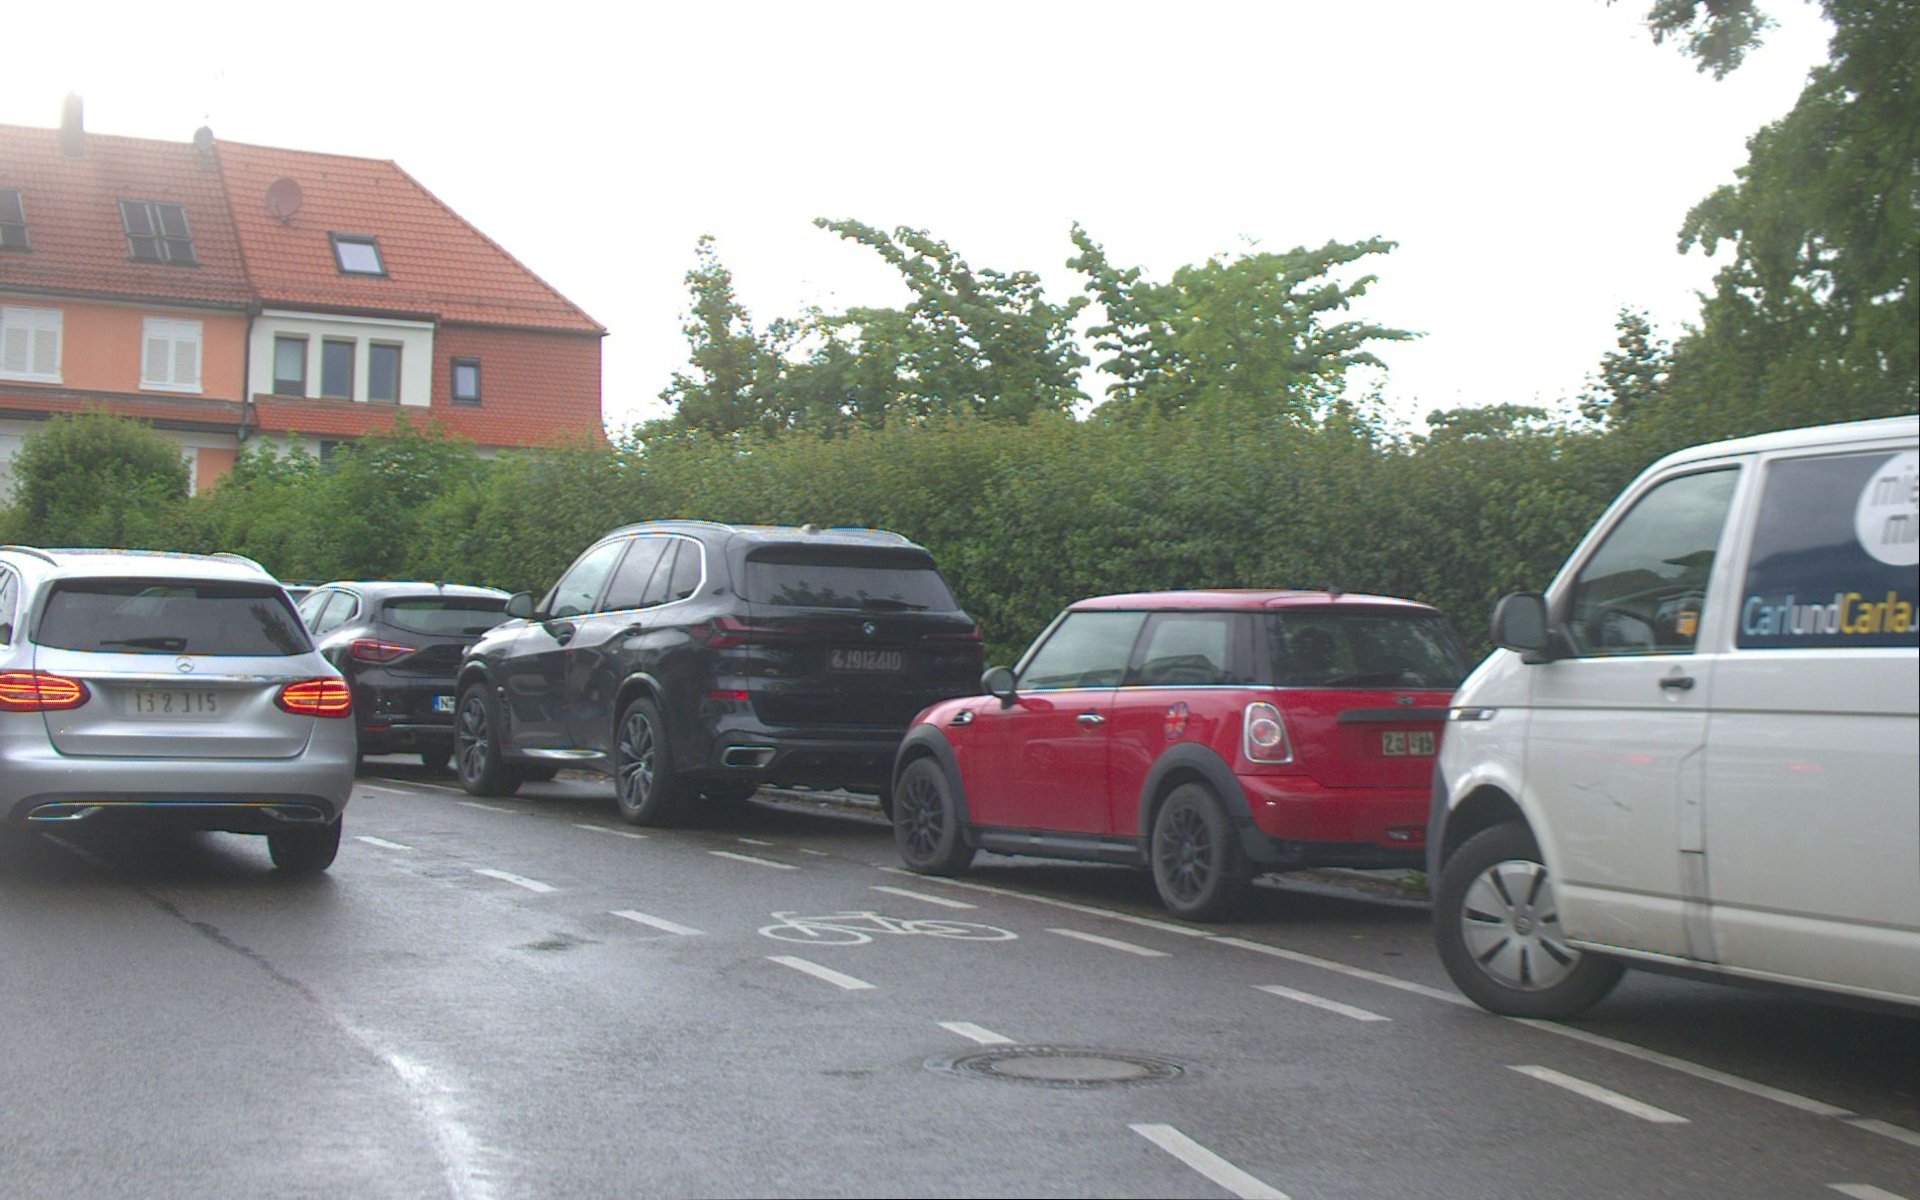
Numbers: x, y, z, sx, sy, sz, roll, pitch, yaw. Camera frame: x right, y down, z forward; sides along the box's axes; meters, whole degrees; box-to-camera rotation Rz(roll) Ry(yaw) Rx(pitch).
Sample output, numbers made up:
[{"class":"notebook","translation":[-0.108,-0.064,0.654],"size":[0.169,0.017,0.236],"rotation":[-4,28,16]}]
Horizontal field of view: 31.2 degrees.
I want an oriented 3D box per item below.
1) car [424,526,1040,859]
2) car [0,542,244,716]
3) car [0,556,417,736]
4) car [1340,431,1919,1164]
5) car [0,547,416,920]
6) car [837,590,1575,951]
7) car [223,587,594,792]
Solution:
[{"class":"car","translation":[-1.565,0.481,21.176],"size":[2.026,1.776,4.900],"rotation":[2,0,-26]},{"class":"car","translation":[-9.283,0.269,36.820],"size":[1.886,1.657,4.549],"rotation":[4,-1,-28]},{"class":"car","translation":[-7.058,0.396,31.871],"size":[1.799,1.435,4.641],"rotation":[3,0,-40]},{"class":"car","translation":[3.079,0.507,10.315],"size":[1.859,1.941,4.809],"rotation":[0,1,-21]},{"class":"car","translation":[-4.117,0.552,16.527],"size":[1.982,1.548,4.299],"rotation":[2,0,-22]},{"class":"car","translation":[1.014,0.711,16.076],"size":[1.671,1.409,3.743],"rotation":[2,0,-28]},{"class":"car","translation":[-4.253,0.635,26.047],"size":[1.688,1.417,3.984],"rotation":[2,-1,-25]}]
